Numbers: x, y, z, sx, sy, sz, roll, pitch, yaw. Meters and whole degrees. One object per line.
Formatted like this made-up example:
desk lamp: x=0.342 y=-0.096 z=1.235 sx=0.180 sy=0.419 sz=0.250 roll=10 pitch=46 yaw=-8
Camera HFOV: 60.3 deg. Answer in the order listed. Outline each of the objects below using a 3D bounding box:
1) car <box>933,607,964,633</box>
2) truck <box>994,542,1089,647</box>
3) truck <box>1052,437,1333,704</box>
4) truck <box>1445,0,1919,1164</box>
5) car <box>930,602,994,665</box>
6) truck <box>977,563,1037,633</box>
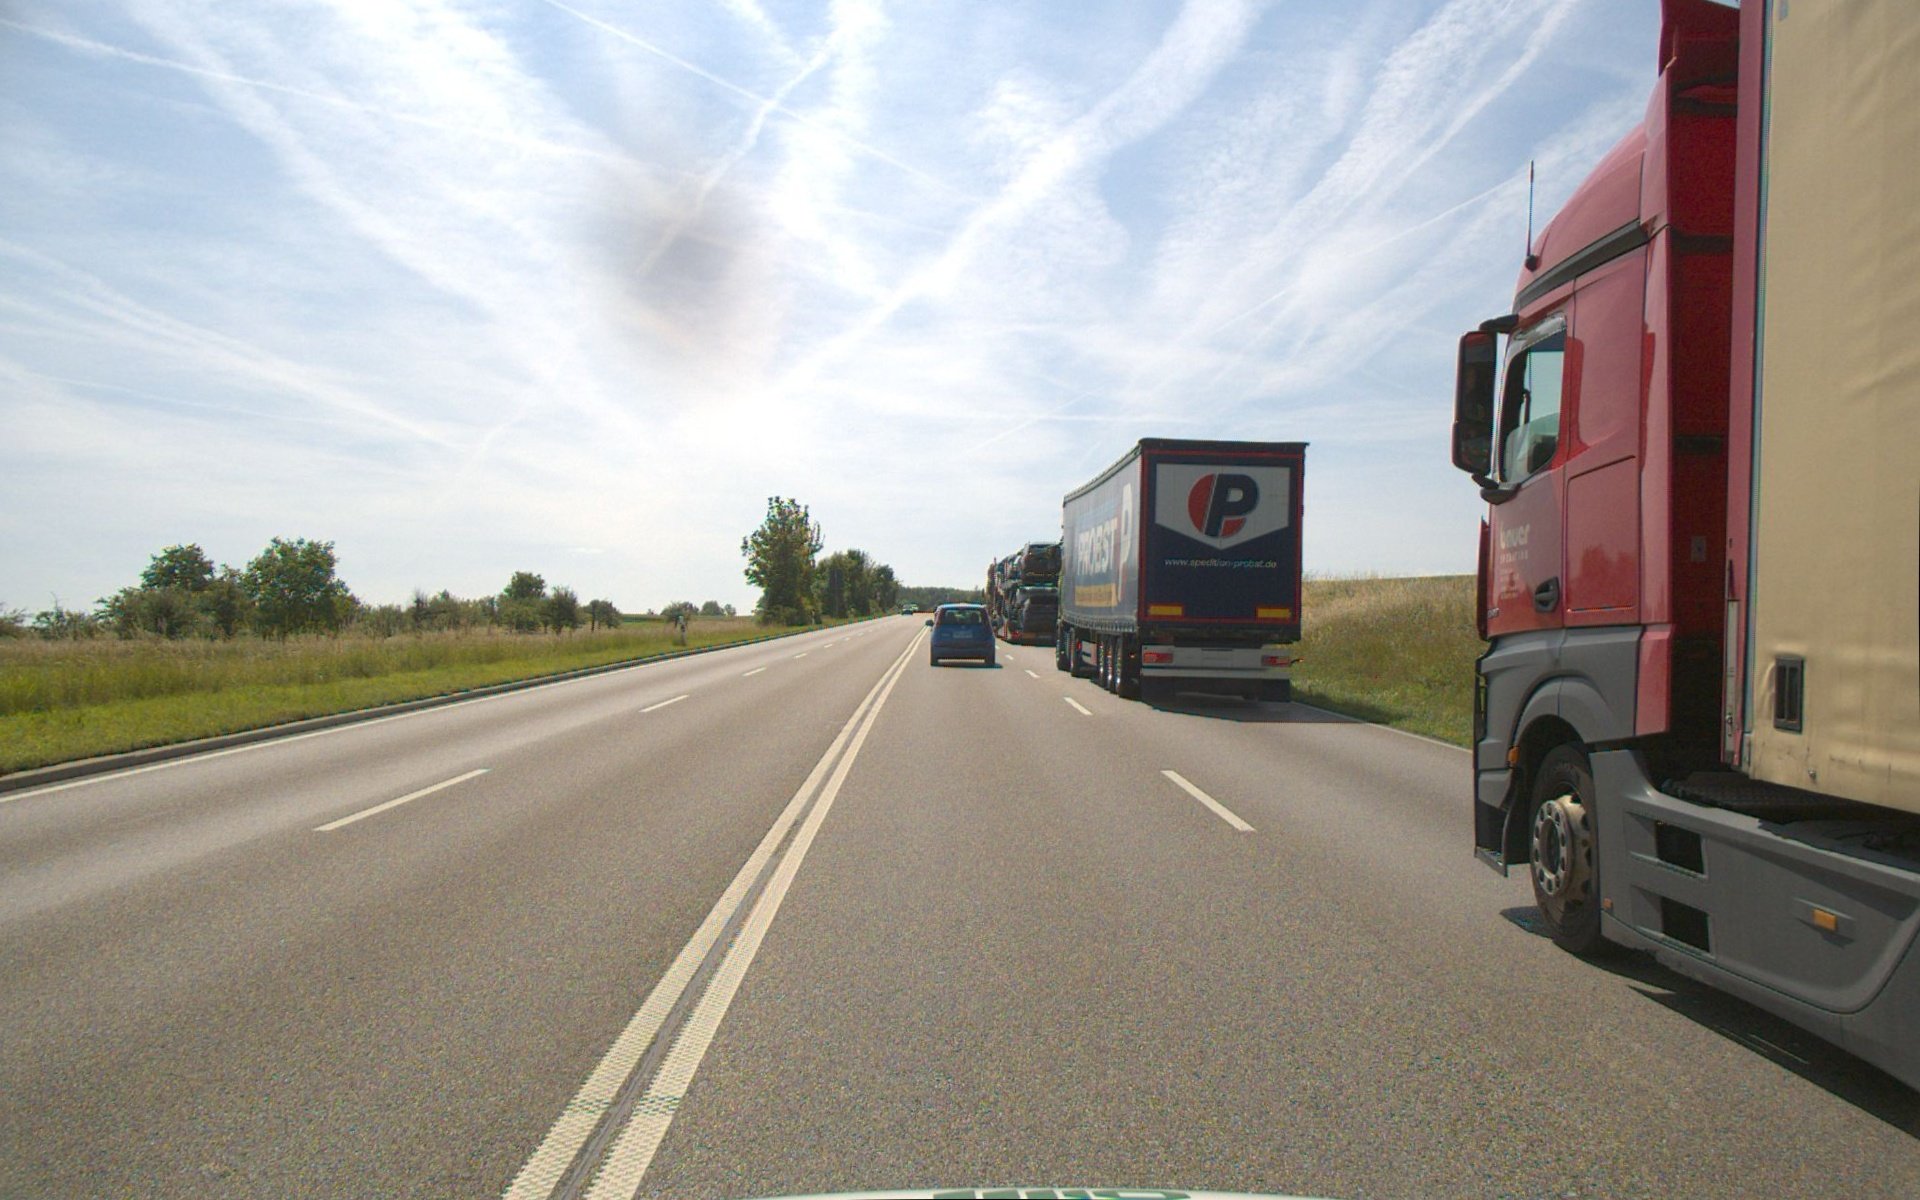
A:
car: x=-0.694 y=1.136 z=95.948 sx=1.669 sy=1.400 sz=4.601 roll=1 pitch=0 yaw=-2
truck: x=3.291 y=-0.173 z=72.184 sx=2.985 sy=3.979 sz=18.393 roll=1 pitch=0 yaw=-1
truck: x=3.940 y=-0.413 z=32.669 sx=2.985 sy=3.979 sz=15.610 roll=1 pitch=0 yaw=-1
truck: x=4.217 y=-0.588 z=0.218 sx=2.946 sy=4.253 sz=16.708 roll=1 pitch=0 yaw=-2
car: x=0.093 y=0.845 z=43.115 sx=1.598 sy=1.558 sz=3.915 roll=0 pitch=0 yaw=1
truck: x=2.808 y=-0.051 z=104.202 sx=2.985 sy=3.979 sz=18.393 roll=1 pitch=0 yaw=-1
